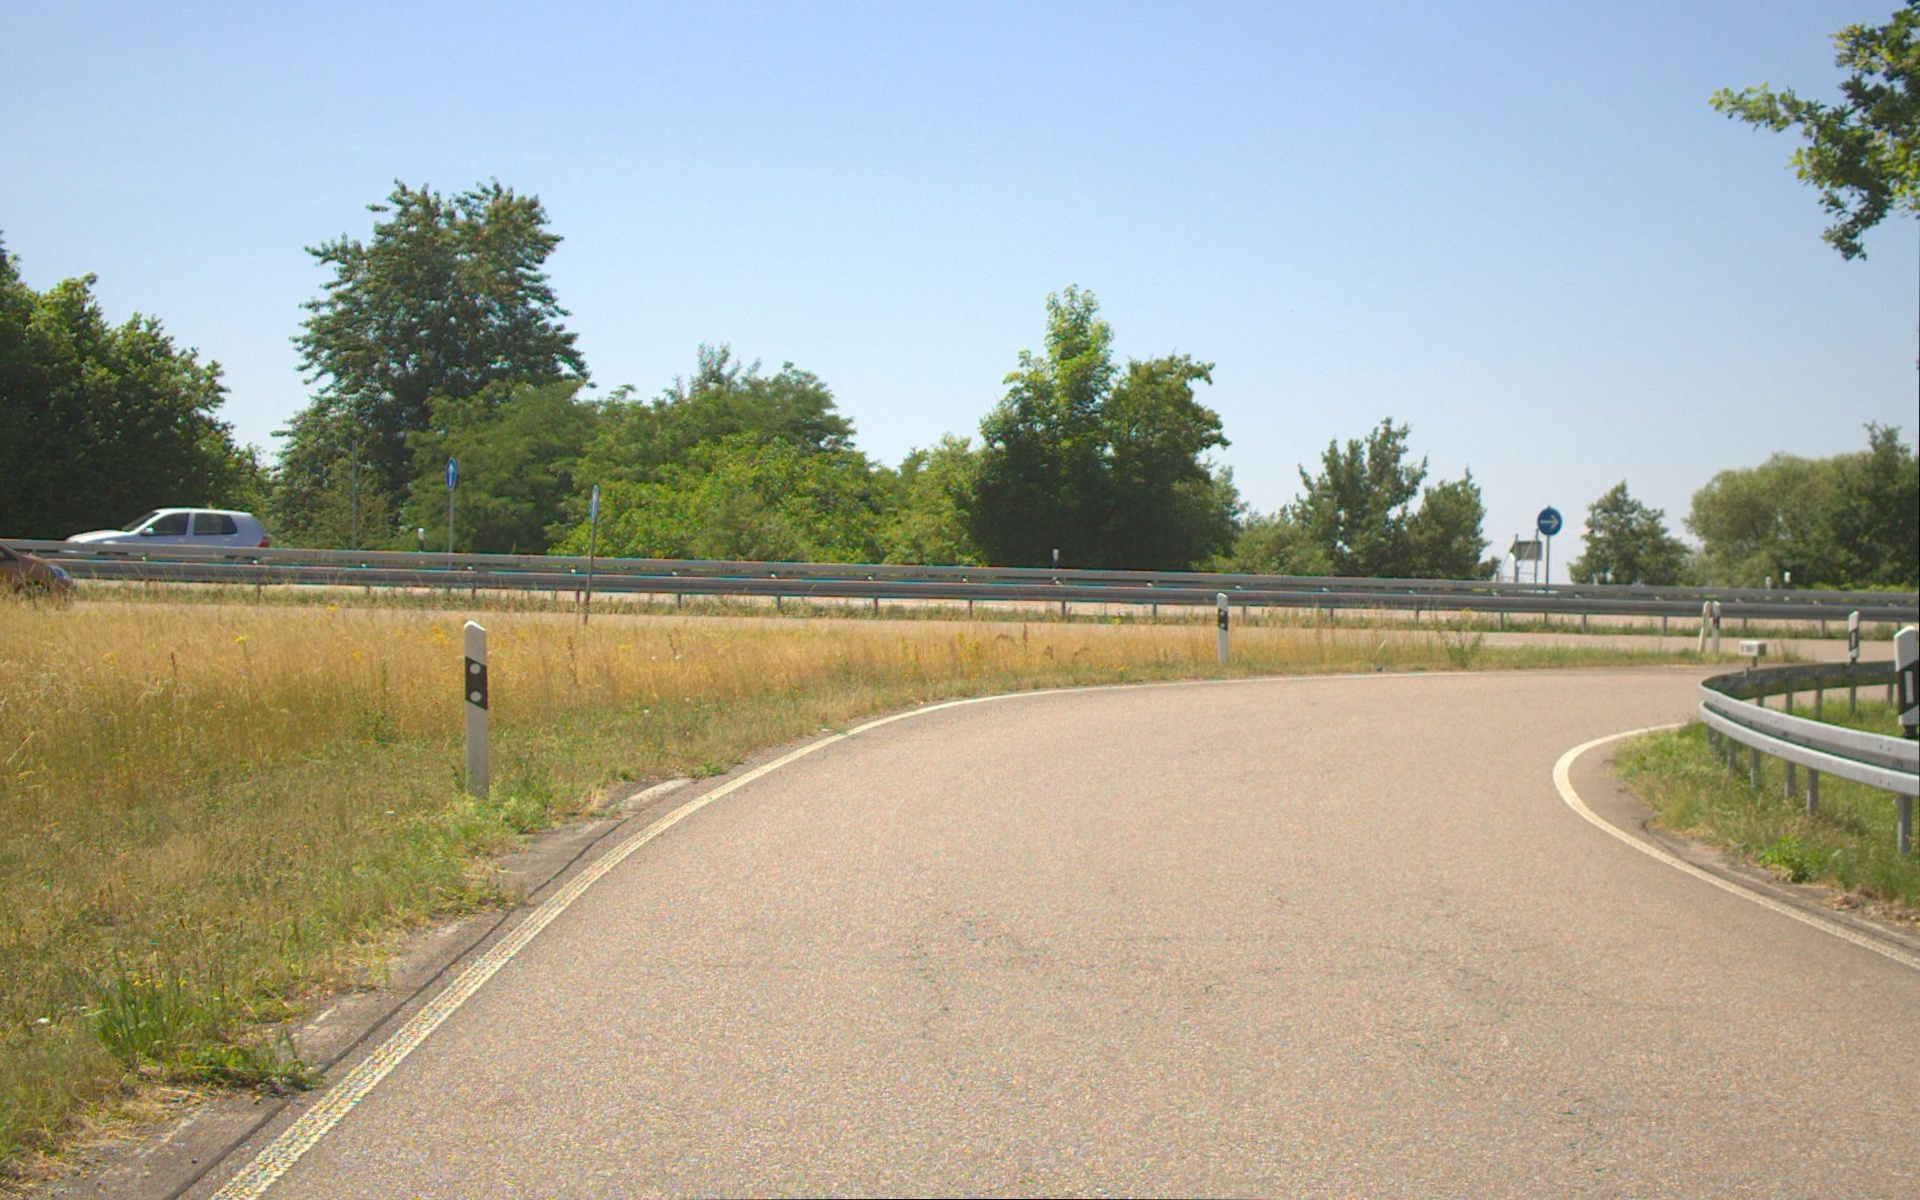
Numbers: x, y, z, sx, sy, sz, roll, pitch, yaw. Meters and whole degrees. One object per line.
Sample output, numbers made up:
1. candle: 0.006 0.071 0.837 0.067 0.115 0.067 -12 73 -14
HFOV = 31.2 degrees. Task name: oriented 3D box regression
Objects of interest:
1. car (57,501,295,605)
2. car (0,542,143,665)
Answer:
1. car: -15.659 -0.924 68.694 4.211 1.784 2.000 4 -1 -25
2. car: -15.267 -0.009 53.776 4.512 1.784 2.000 4 -1 -22
